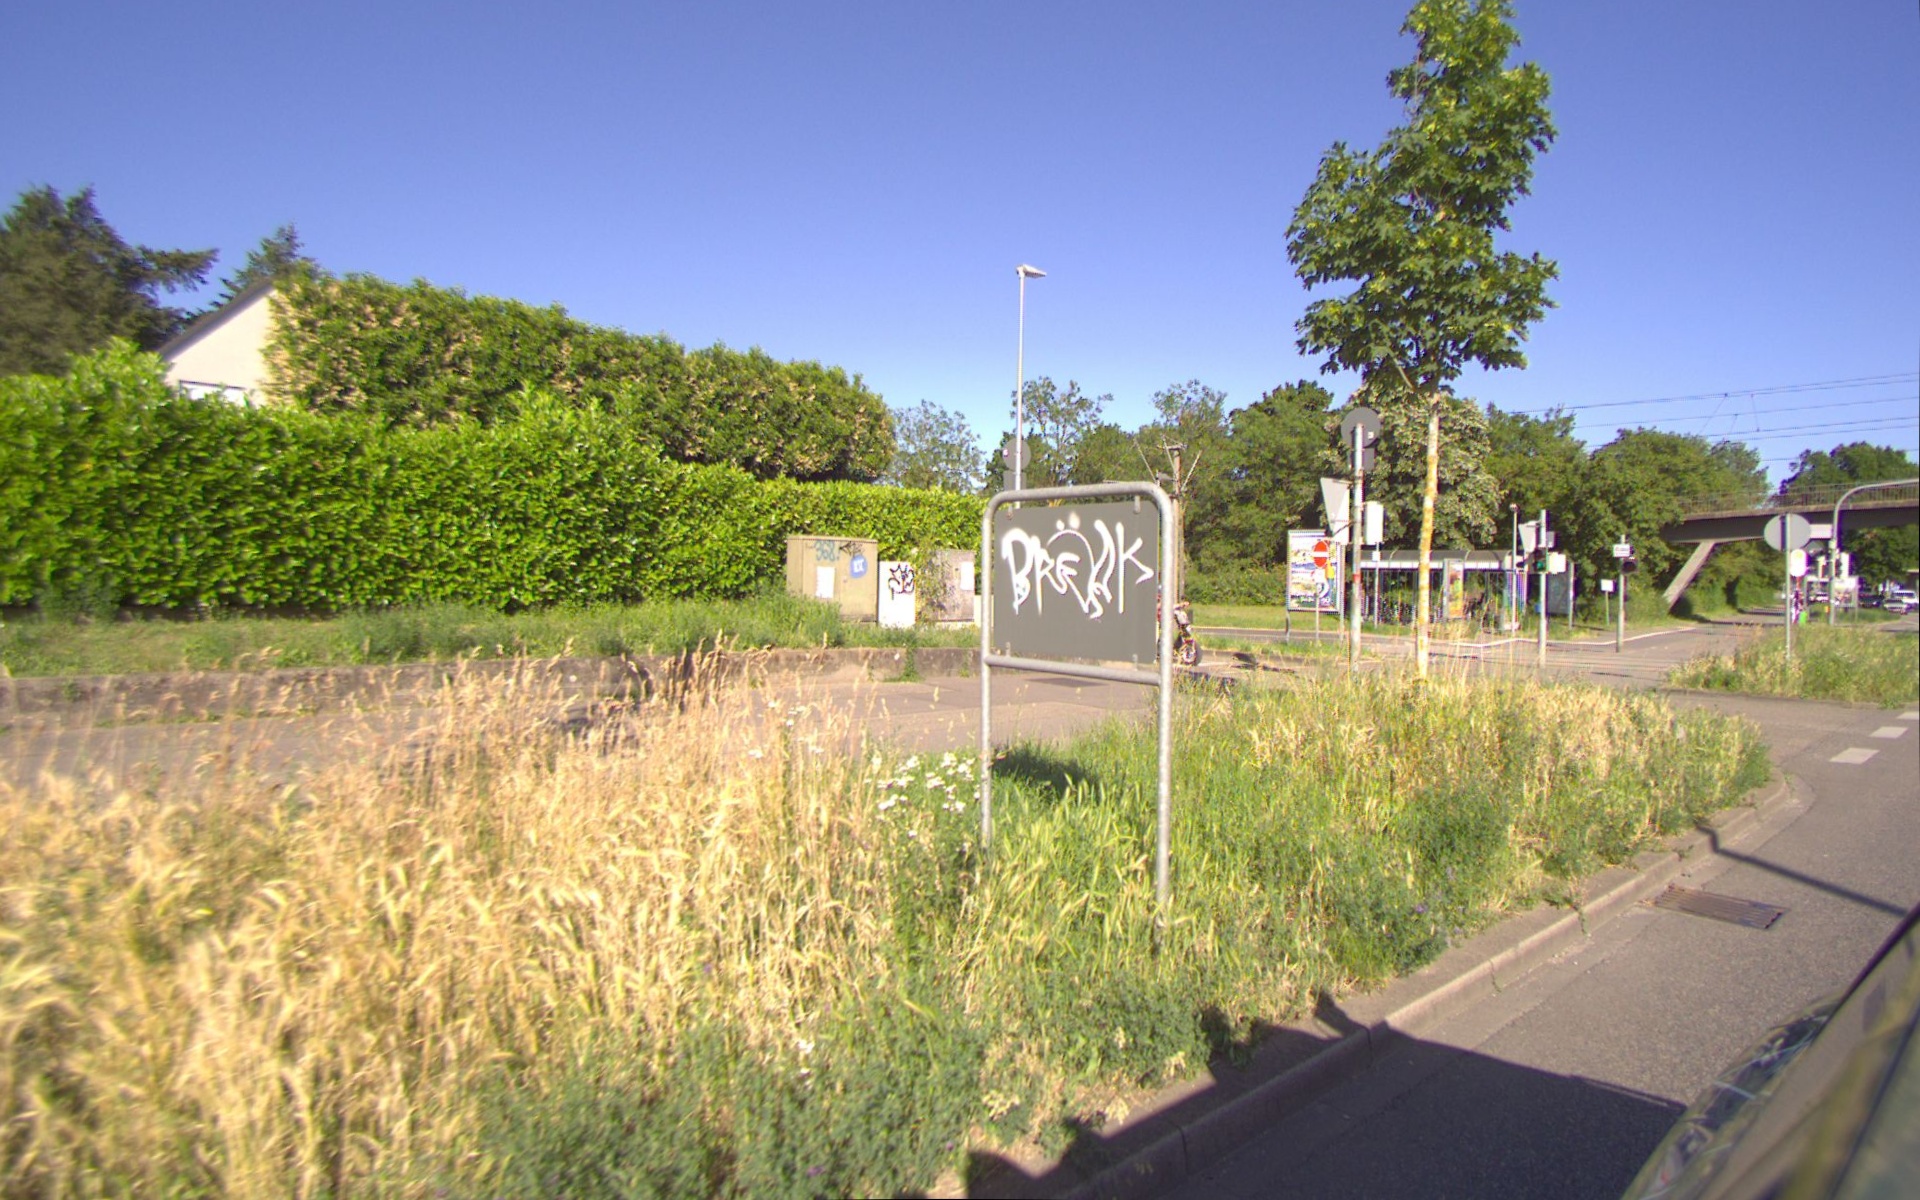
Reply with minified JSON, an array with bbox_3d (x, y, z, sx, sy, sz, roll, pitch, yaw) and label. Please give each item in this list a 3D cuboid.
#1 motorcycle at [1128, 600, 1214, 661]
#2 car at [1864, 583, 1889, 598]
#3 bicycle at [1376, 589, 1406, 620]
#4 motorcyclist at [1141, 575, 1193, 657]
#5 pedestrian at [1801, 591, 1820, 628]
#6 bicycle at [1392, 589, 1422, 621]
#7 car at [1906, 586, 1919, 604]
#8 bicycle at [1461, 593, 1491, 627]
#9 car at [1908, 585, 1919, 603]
[{"bbox_3d":[4.162,0.581,20.052,0.443,1.084,1.760,0,2,-39],"label":"motorcycle"},{"bbox_3d":[100.564,-1.011,111.078,1.866,1.641,3.781,1,1,40],"label":"car"},{"bbox_3d":[17.165,0.167,40.302,1.757,1.079,0.430,-7,8,-44],"label":"bicycle"},{"bbox_3d":[4.116,0.298,20.138,0.687,1.577,0.695,0,2,-40],"label":"motorcyclist"},{"bbox_3d":[39.048,0.425,46.463,0.587,1.683,0.706,2,1,41],"label":"pedestrian"},{"bbox_3d":[17.583,0.190,39.789,1.757,1.079,0.430,-7,8,-44],"label":"bicycle"},{"bbox_3d":[108.990,-0.536,114.975,1.991,2.039,3.943,1,1,39],"label":"car"},{"bbox_3d":[19.185,0.350,37.643,1.757,1.079,0.430,-7,8,-44],"label":"bicycle"},{"bbox_3d":[91.454,-0.556,96.202,1.867,1.641,3.778,1,1,42],"label":"car"}]
